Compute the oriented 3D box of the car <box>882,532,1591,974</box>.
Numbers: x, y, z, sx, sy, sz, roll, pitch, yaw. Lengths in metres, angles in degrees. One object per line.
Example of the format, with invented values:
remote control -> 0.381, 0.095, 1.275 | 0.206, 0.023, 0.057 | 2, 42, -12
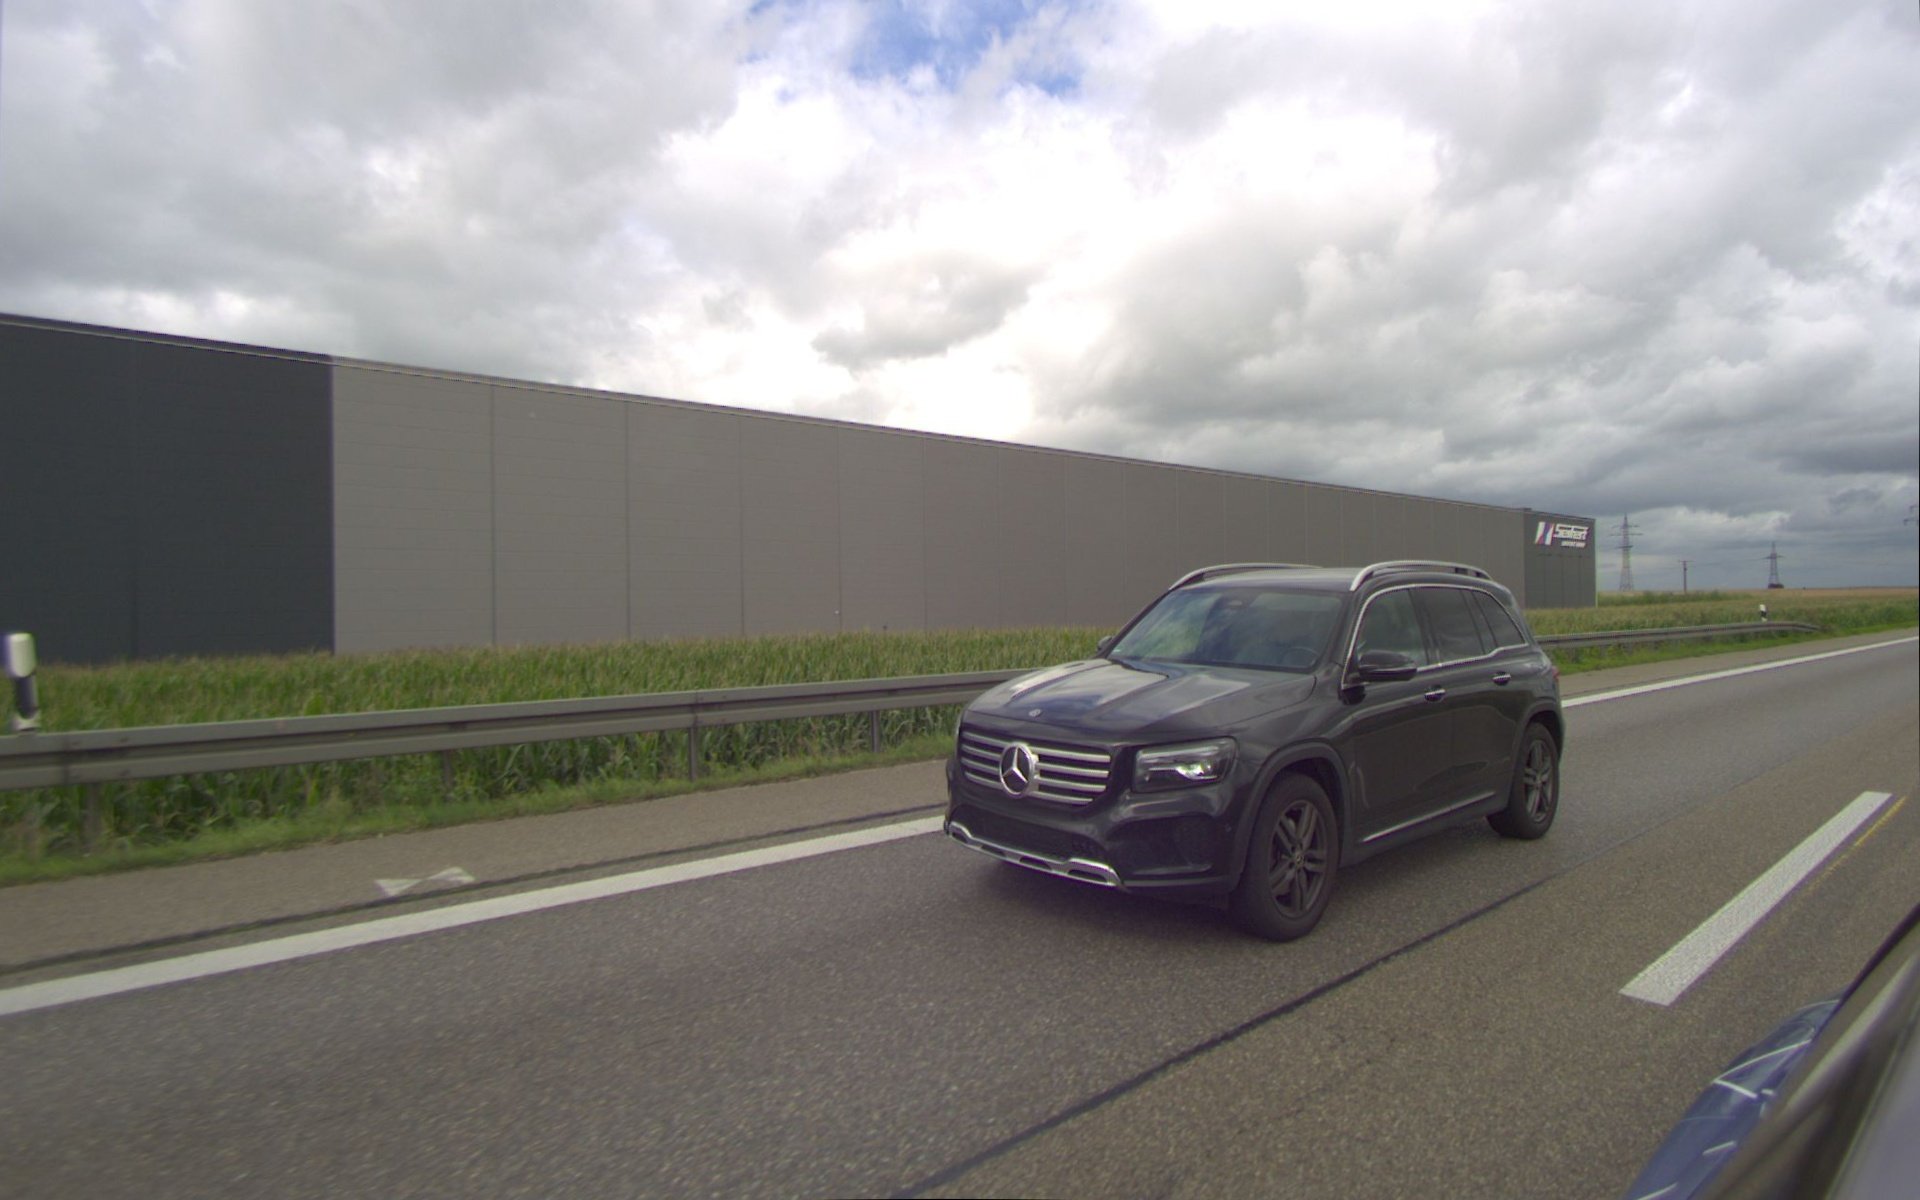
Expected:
car -> 1.823, 0.520, 5.811 | 4.283, 1.629, 1.837 | -1, 1, -40
